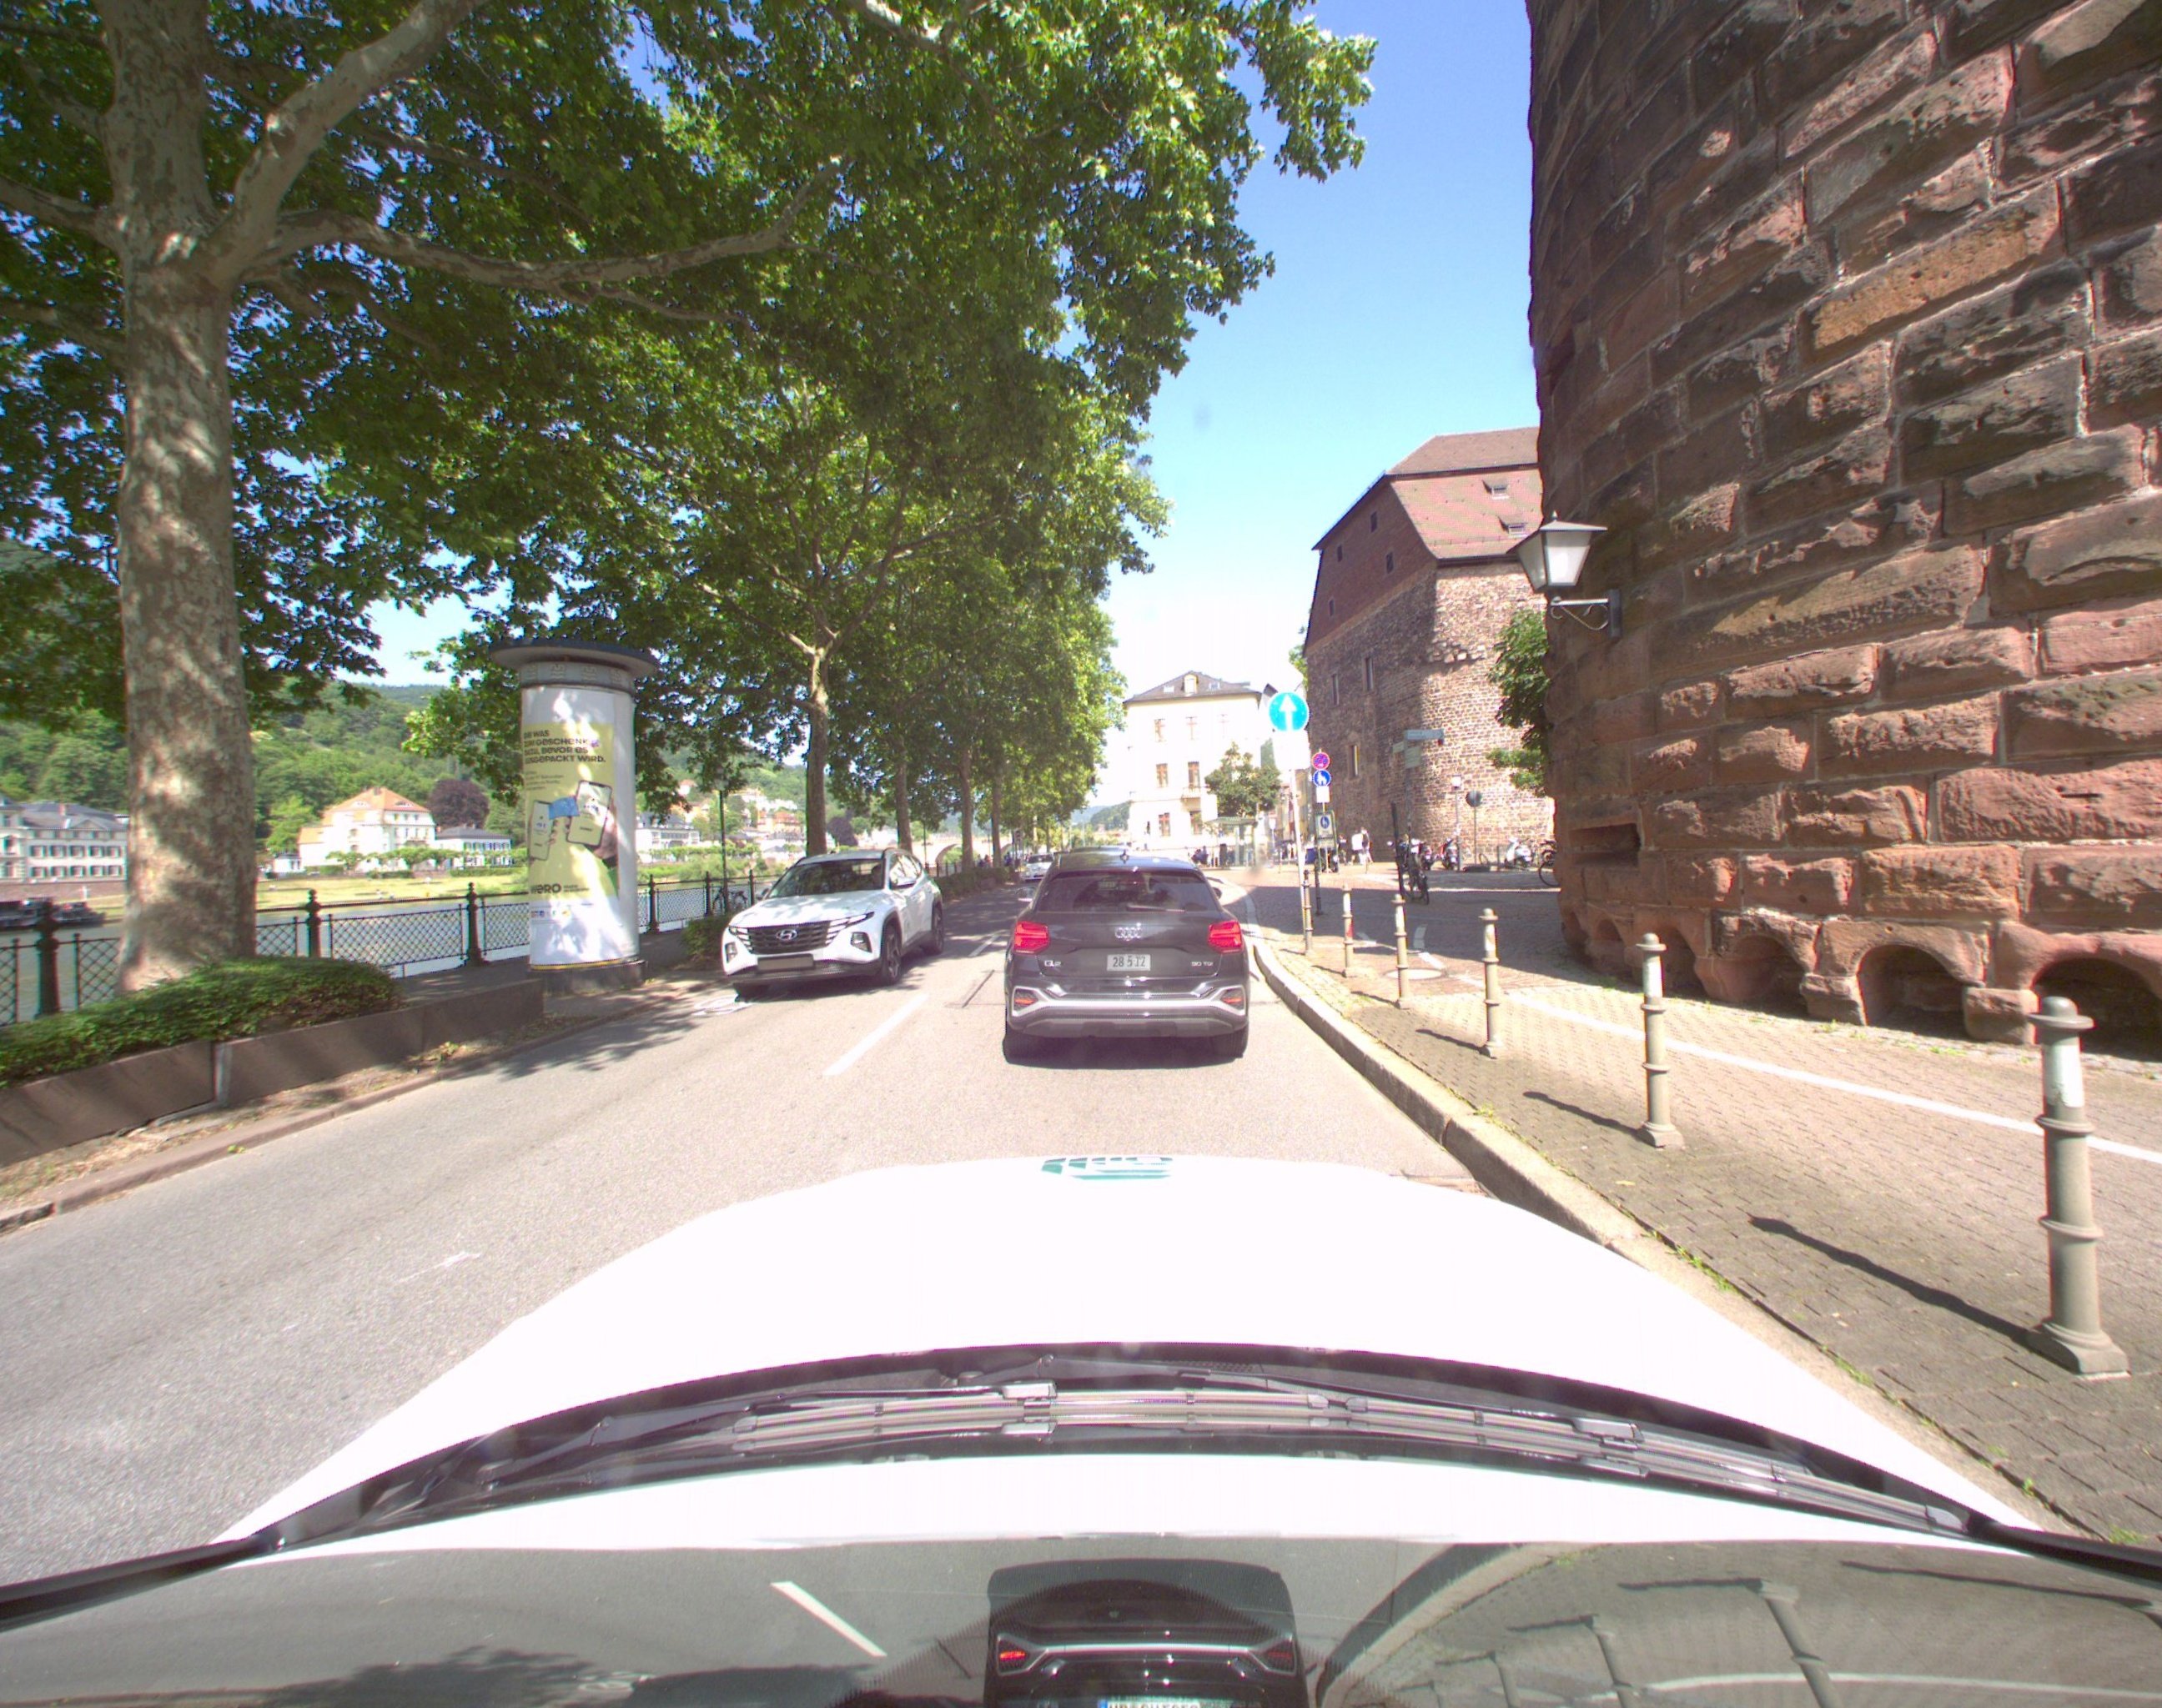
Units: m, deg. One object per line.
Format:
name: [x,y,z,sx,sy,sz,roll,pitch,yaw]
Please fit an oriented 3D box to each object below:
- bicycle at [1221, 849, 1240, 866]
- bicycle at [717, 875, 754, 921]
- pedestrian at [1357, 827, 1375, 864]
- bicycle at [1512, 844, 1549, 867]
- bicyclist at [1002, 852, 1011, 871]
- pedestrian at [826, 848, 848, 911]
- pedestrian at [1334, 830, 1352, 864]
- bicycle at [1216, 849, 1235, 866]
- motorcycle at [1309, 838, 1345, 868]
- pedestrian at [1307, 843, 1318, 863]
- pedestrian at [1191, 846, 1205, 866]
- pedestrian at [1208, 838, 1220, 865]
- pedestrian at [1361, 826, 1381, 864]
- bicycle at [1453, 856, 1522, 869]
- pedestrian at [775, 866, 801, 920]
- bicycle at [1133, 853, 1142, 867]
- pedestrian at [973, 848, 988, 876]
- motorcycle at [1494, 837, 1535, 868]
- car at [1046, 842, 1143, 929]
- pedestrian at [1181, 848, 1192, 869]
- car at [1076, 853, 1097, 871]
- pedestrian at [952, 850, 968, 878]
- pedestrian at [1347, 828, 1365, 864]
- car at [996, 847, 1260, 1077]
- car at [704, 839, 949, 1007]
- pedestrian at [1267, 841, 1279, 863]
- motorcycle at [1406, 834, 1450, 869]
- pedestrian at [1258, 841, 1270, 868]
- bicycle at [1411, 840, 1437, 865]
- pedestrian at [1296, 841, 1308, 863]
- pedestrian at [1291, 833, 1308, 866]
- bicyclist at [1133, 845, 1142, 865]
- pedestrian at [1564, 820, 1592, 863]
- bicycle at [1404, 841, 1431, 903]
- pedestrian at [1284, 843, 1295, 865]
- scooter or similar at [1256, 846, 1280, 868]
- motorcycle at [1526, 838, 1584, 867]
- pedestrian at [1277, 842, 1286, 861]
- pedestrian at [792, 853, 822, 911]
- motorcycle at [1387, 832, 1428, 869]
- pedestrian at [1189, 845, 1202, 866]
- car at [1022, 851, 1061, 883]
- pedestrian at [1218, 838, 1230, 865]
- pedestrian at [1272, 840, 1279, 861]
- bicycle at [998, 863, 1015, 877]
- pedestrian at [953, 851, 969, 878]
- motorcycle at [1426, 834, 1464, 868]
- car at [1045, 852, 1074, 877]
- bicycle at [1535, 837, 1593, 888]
bicycle: [8.989,0.200,48.910,1.205,1.035,0.178,0,-1,-17]
bicycle: [-8.887,1.117,20.962,0.358,1.091,1.296,1,0,1]
pedestrian: [15.070,-0.438,43.038,0.666,1.920,0.821,0,-1,1]
bicycle: [16.627,0.055,30.147,0.352,0.820,1.926,0,1,1]
bicyclist: [-5.119,0.543,56.092,0.565,1.311,0.551,0,-1,-3]
pedestrian: [-7.393,0.758,24.654,0.532,1.887,0.437,0,0,1]
pedestrian: [14.063,-0.358,43.765,0.649,1.802,0.847,-1,0,1]
bicycle: [8.772,0.238,49.546,1.187,1.016,0.178,0,-1,-17]
motorcycle: [9.046,-0.038,30.047,0.564,1.012,2.490,-2,0,1]
pedestrian: [19.836,-0.092,69.702,0.684,1.612,0.897,-3,1,26]
pedestrian: [6.920,0.121,48.144,0.662,1.211,0.640,0,-1,-5]
pedestrian: [9.986,-0.165,61.244,0.632,2.014,0.670,-1,-1,31]
pedestrian: [15.640,-0.480,43.941,0.727,2.014,0.878,0,-1,1]
bicycle: [13.648,0.287,27.395,1.914,0.381,0.921,-2,-1,16]
pedestrian: [-7.466,0.981,20.754,0.476,1.362,0.418,0,0,5]
bicycle: [4.219,0.449,60.697,0.436,1.086,1.675,0,-1,-2]
pedestrian: [-7.181,0.592,58.194,0.906,2.014,0.587,-1,-1,6]
motorcycle: [15.497,-0.047,29.151,0.505,1.073,1.841,0,-1,2]
car: [0.303,0.568,16.741,1.786,1.595,3.400,0,0,2]
pedestrian: [7.635,0.336,58.962,0.691,1.500,0.513,0,-1,-3]
car: [0.562,0.850,85.848,1.985,1.806,4.003,-1,-1,3]
pedestrian: [-8.034,0.641,54.089,0.906,1.844,0.587,-1,-1,6]
pedestrian: [14.339,-0.407,42.514,0.666,1.884,0.821,0,-1,1]
car: [0.367,0.699,7.199,1.736,1.509,3.649,0,0,2]
car: [-3.088,0.748,10.827,1.762,1.660,4.001,-5,0,1]
pedestrian: [17.416,-0.162,73.815,0.941,2.014,0.808,0,-1,2]
motorcycle: [12.788,-0.093,30.084,0.672,1.235,2.313,0,-1,2]
pedestrian: [9.559,0.013,42.555,0.555,1.385,0.588,-1,-1,4]
bicycle: [16.831,-0.046,40.009,0.388,1.209,1.715,0,-1,-6]
pedestrian: [20.439,-0.211,75.288,0.936,2.014,0.808,0,-1,2]
pedestrian: [12.345,-0.250,46.016,0.744,1.890,0.753,-1,-1,4]
bicyclist: [4.238,0.075,60.775,0.604,1.450,0.590,0,-1,-3]
pedestrian: [19.668,-0.494,32.235,0.799,1.662,0.660,-3,0,26]
bicycle: [6.913,0.332,16.758,0.192,1.203,1.775,-2,1,13]
pedestrian: [19.279,0.029,75.275,0.836,2.014,0.738,0,-1,2]
scooter or similar: [9.025,0.134,39.292,1.085,1.066,0.323,0,-1,-1]
motorcycle: [17.941,-0.054,30.845,1.854,1.054,0.481,-1,-1,9]
pedestrian: [16.636,-0.226,67.535,0.620,1.532,0.466,0,-1,1]
pedestrian: [-8.221,0.841,24.453,0.599,1.685,0.583,-3,0,0]
motorcycle: [11.943,-0.119,29.873,0.653,1.266,2.201,-2,-1,2]
pedestrian: [6.865,0.103,48.904,0.662,1.231,0.640,0,-1,-5]
car: [-2.183,0.687,46.314,1.732,1.572,4.093,-6,0,2]
pedestrian: [10.678,-0.191,60.686,0.632,2.014,0.670,-1,-1,31]
pedestrian: [16.161,-0.285,67.558,0.447,1.680,0.466,0,-1,1]
bicycle: [-5.128,1.100,56.108,1.091,1.006,0.303,-1,-1,-5]
pedestrian: [-8.127,0.701,55.241,0.906,1.811,0.586,-1,-2,6]
motorcycle: [13.719,-0.106,30.751,0.544,1.235,2.031,0,-1,2]
car: [-1.680,0.793,65.281,1.806,1.725,4.423,-8,0,2]
bicycle: [11.519,0.180,19.479,0.444,1.162,1.733,-2,0,5]
